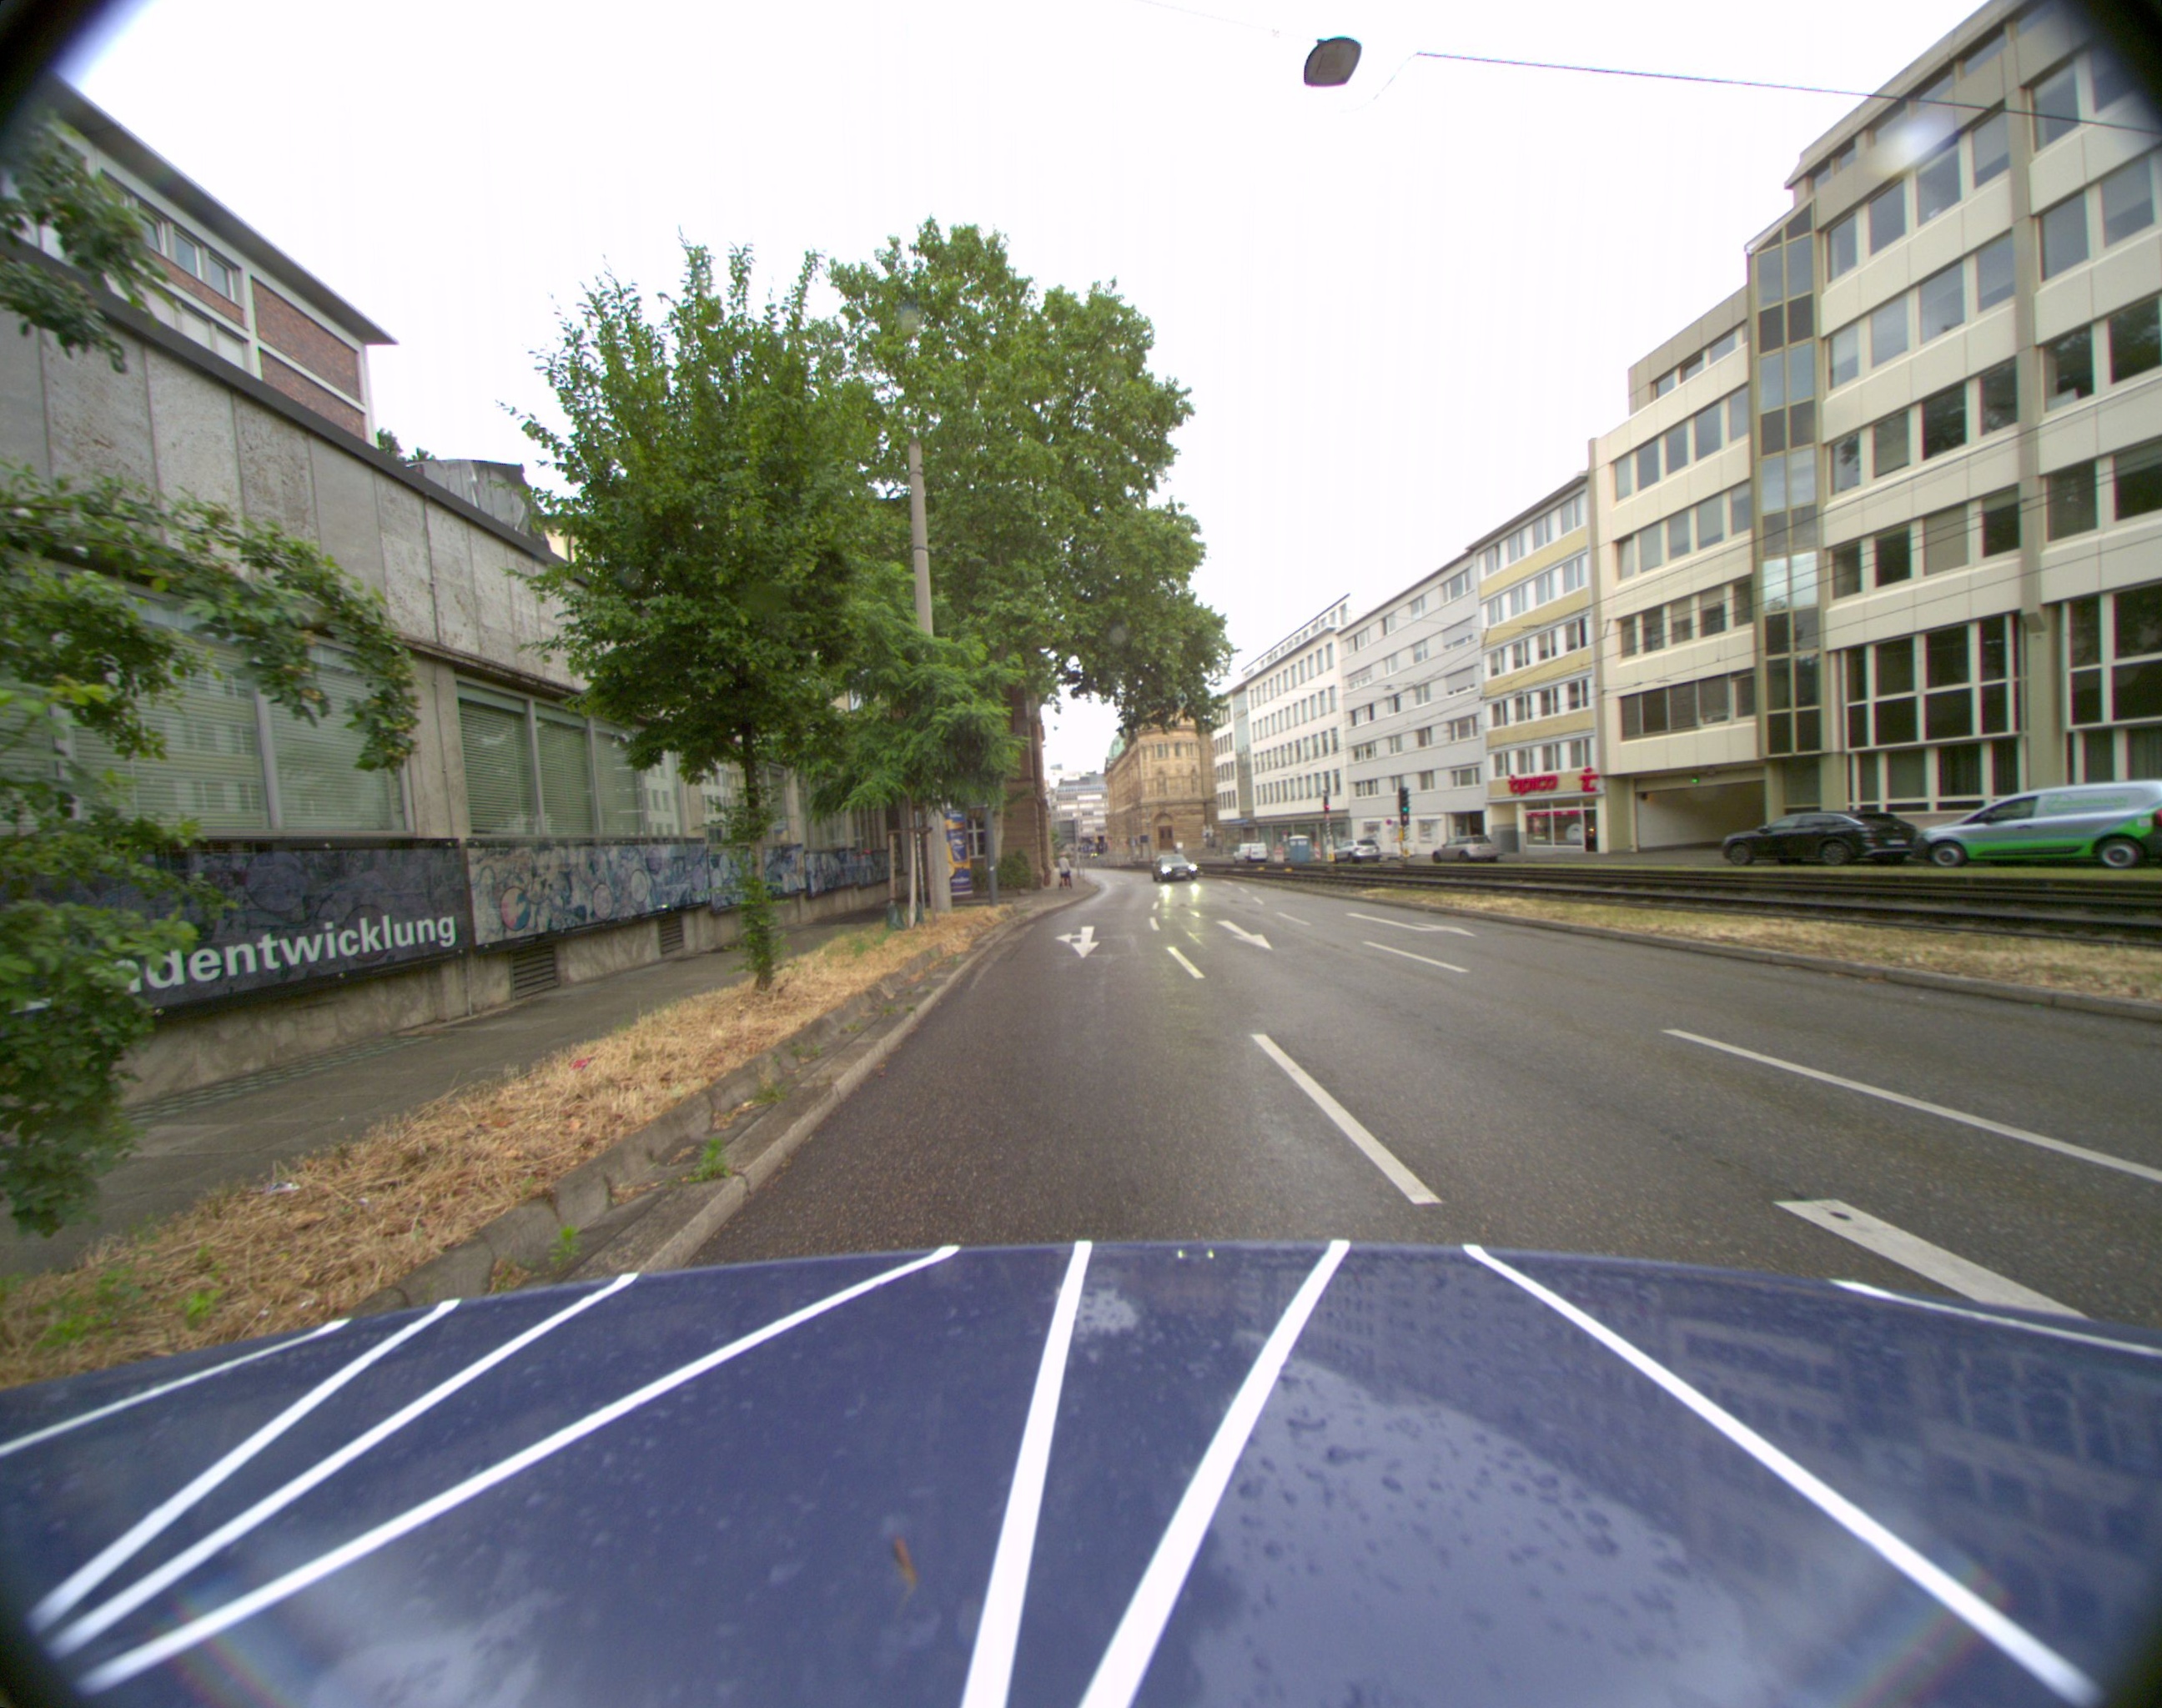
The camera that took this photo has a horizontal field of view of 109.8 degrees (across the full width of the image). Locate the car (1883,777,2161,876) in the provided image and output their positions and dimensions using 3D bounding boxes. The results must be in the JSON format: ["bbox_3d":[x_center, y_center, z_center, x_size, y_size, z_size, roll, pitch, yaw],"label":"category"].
[{"bbox_3d":[21.503,-0.620,16.917,1.999,1.840,4.691,-6,2,-7],"label":"car"}]

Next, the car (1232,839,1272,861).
[{"bbox_3d":[16.410,-0.421,73.316,1.999,1.832,5.127,-6,2,-7],"label":"car"}]

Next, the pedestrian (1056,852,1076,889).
[{"bbox_3d":[-0.709,0.769,36.175,0.719,1.732,1.020,-1,1,11],"label":"pedestrian"}]

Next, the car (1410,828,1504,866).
[{"bbox_3d":[19.254,-0.382,39.194,1.999,1.664,4.691,-6,2,-7],"label":"car"}]

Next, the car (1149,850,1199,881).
[{"bbox_3d":[4.984,0.608,41.361,1.999,1.458,4.642,-5,0,-1],"label":"car"}]

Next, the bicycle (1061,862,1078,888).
[{"bbox_3d":[-0.547,1.013,37.164,0.620,1.213,0.911,-2,1,12],"label":"bicycle"}]

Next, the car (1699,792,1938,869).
[{"bbox_3d":[21.047,-0.652,22.025,1.999,1.840,4.691,-6,2,-7],"label":"car"}]

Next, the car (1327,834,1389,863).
[{"bbox_3d":[18.333,-0.321,50.544,1.999,1.664,4.694,-6,0,-4],"label":"car"}]
